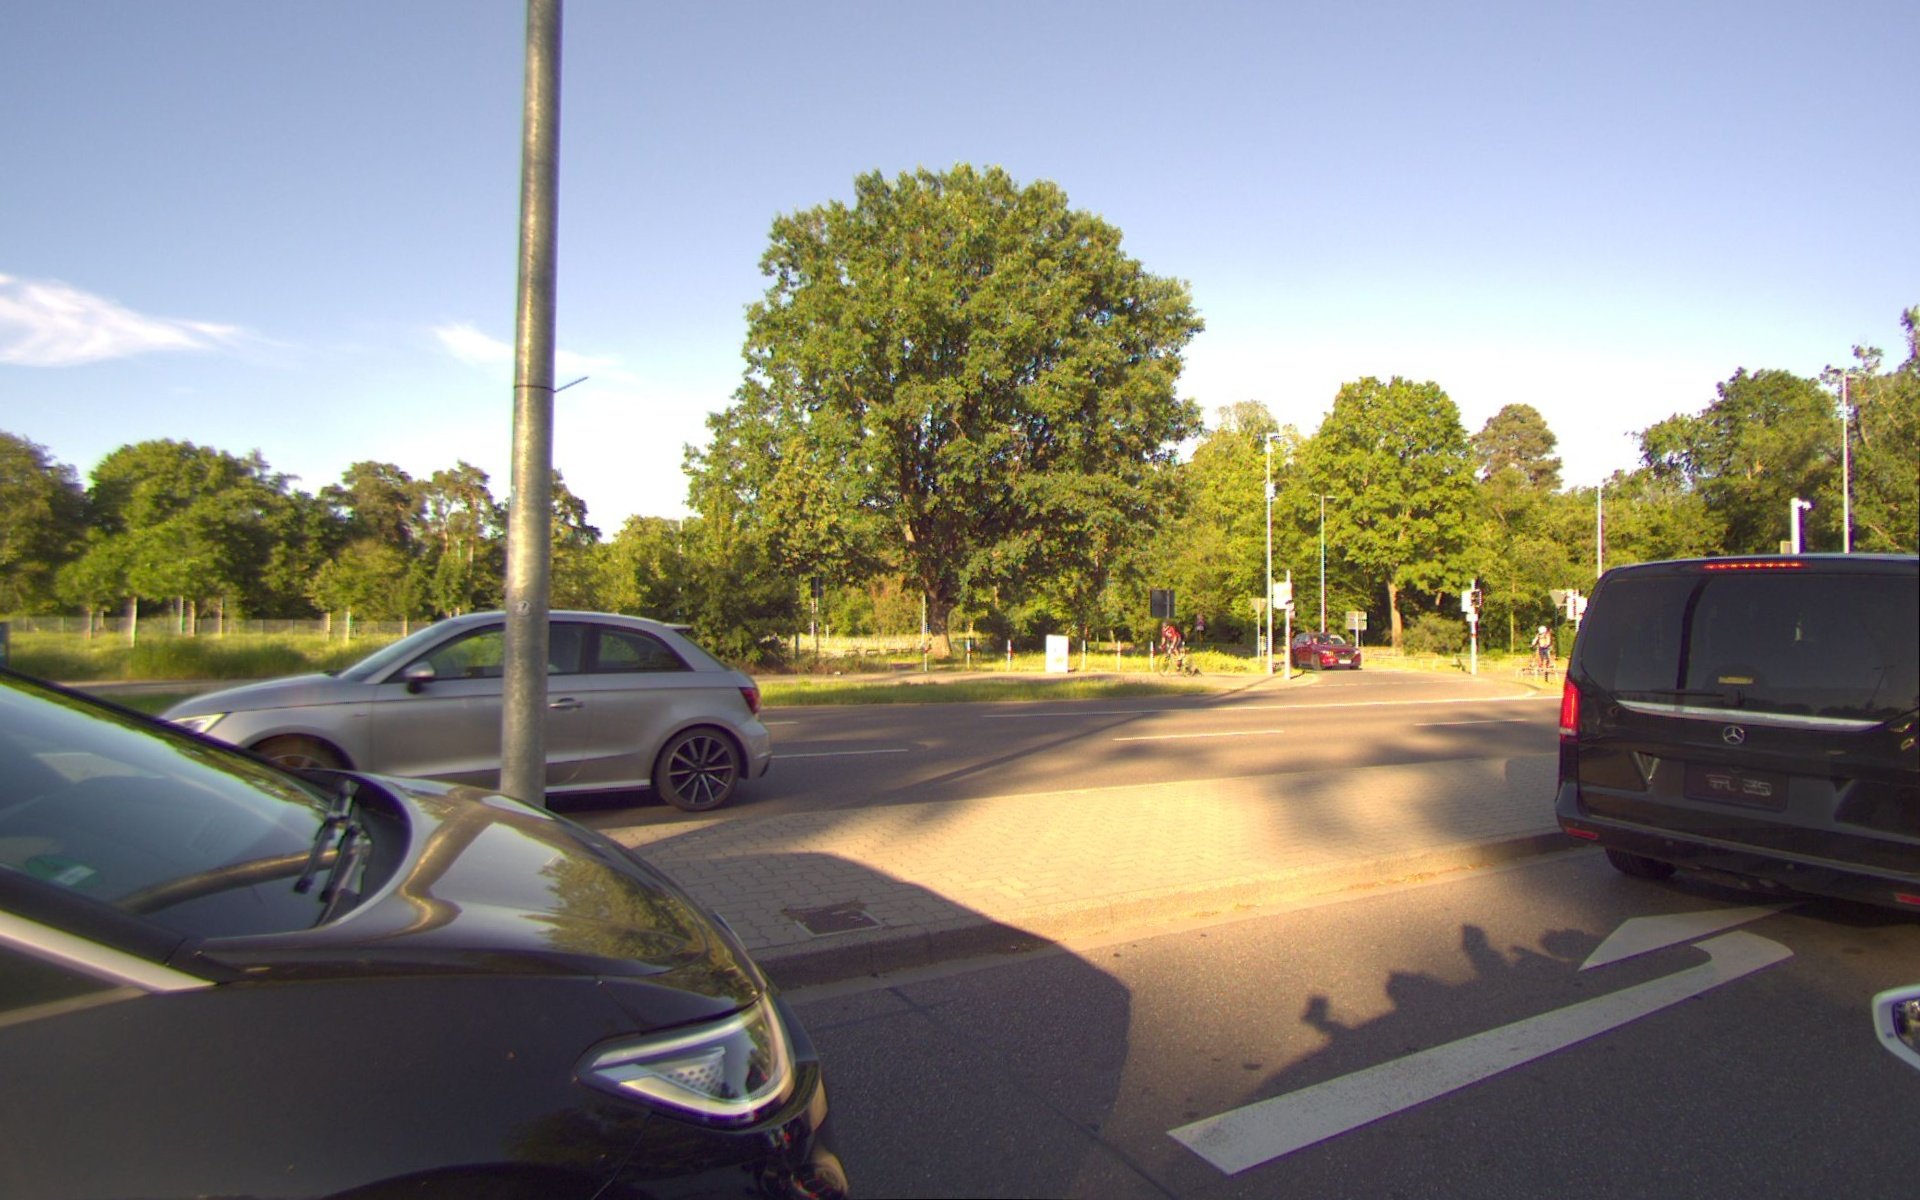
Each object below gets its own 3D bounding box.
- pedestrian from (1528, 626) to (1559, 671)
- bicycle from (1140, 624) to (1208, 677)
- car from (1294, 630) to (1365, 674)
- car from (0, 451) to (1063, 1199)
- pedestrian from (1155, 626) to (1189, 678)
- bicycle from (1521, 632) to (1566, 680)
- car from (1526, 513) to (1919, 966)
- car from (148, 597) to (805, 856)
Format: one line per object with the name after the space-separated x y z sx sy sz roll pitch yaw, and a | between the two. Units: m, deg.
22.236 1.840 38.263 0.780 1.647 0.692 2 0 -30 | pedestrian
6.598 1.565 30.965 1.996 1.571 0.748 2 0 -27 | bicycle
15.919 2.202 43.513 1.959 1.639 4.002 2 0 7 | car
-2.030 0.610 1.235 3.955 1.557 1.868 2 0 -31 | car
6.523 1.594 30.916 0.664 1.564 0.737 2 0 -27 | pedestrian
22.272 2.123 38.324 1.972 1.773 0.611 2 0 -33 | bicycle
5.718 0.620 6.004 4.816 1.881 1.898 1 0 -30 | car
-3.203 0.760 7.189 3.799 1.414 1.592 2 0 -31 | car
